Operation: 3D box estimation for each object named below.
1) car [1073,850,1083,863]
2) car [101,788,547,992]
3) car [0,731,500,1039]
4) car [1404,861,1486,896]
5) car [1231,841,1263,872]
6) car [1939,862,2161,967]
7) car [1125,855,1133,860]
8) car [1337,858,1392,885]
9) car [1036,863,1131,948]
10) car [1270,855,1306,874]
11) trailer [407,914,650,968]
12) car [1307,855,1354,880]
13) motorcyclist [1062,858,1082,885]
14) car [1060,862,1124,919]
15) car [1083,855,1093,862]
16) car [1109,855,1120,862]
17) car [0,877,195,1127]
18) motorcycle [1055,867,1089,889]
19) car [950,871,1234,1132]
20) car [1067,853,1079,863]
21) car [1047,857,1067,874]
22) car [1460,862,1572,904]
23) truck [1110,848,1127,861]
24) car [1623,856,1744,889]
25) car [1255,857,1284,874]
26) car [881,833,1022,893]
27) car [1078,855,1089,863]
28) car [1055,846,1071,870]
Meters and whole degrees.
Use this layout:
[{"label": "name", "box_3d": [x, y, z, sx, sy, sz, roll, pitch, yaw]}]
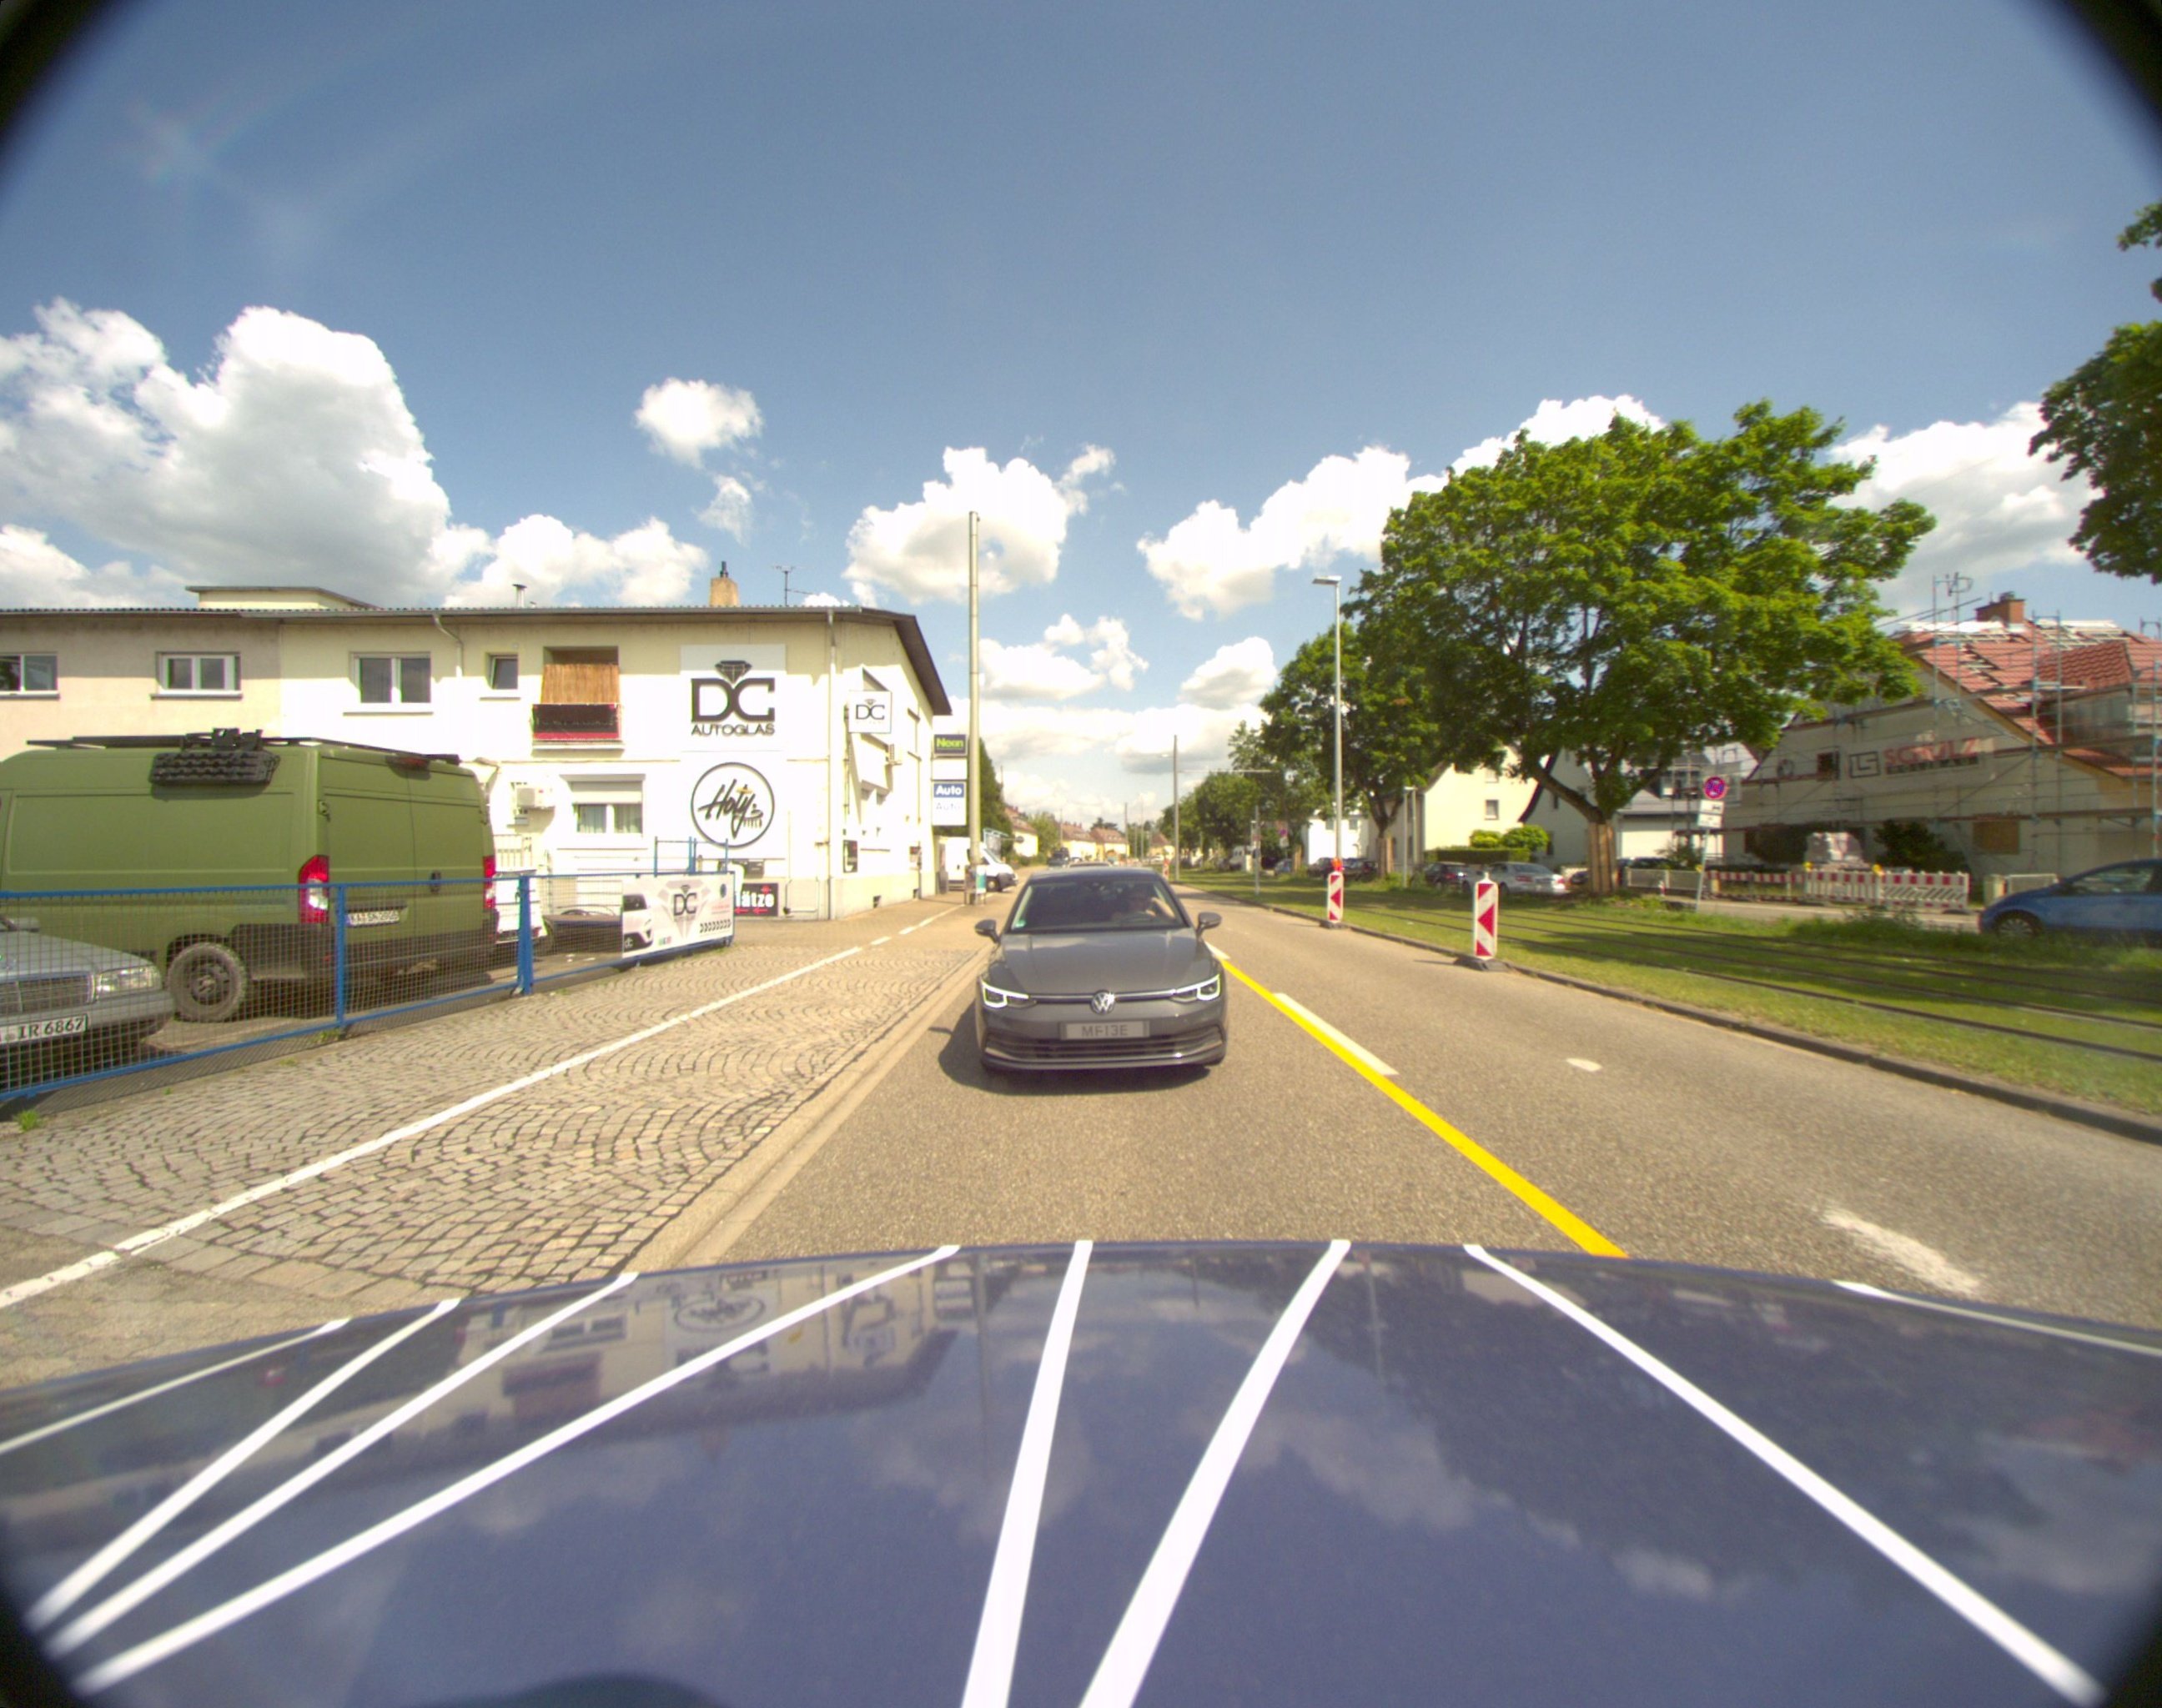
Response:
[{"label": "car", "box_3d": [-0.502, 0.416, 136.210, 1.701, 2.233, 4.947, 0, 0, 2]}, {"label": "car", "box_3d": [-9.506, 0.428, 9.758, 4.207, 2.392, 1.586, 0, 0, 2]}, {"label": "car", "box_3d": [-8.732, 0.271, 7.610, 4.207, 2.627, 2.113, 0, 0, 2]}, {"label": "car", "box_3d": [16.618, 1.121, 34.939, 1.702, 1.477, 4.407, -1, -1, 1]}, {"label": "car", "box_3d": [16.810, 0.272, 77.273, 2.136, 3.019, 5.084, -1, -1, 1]}, {"label": "car", "box_3d": [16.216, 0.868, 11.400, 1.702, 1.477, 4.407, -1, -1, 1]}, {"label": "car", "box_3d": [13.813, 0.938, 218.683, 1.700, 1.574, 4.005, 0, 0, 16]}, {"label": "car", "box_3d": [16.763, 1.035, 45.156, 1.702, 1.477, 4.407, -1, -1, 1]}, {"label": "car", "box_3d": [0.069, 0.941, 15.557, 1.702, 1.477, 4.000, 0, 0, 1]}, {"label": "car", "box_3d": [16.636, 0.874, 61.259, 1.702, 1.477, 4.407, -1, -1, 1]}, {"label": "trailer", "box_3d": [-8.374, 1.307, 11.660, 2.733, 0.662, 1.329, 0, 0, -1]}, {"label": "car", "box_3d": [16.547, 0.899, 50.662, 1.702, 1.562, 4.407, -1, -1, 1]}, {"label": "motorcyclist", "box_3d": [-0.429, 0.857, 37.577, 0.660, 1.284, 0.778, 0, 1, -33]}, {"label": "car", "box_3d": [0.320, 1.011, 22.290, 1.702, 1.477, 4.000, 0, 0, 1]}, {"label": "car", "box_3d": [1.435, 0.901, 155.838, 1.701, 1.574, 4.002, 0, 0, 7]}, {"label": "car", "box_3d": [7.156, 0.951, 160.315, 2.117, 1.477, 4.407, 0, 0, 6]}, {"label": "car", "box_3d": [-8.465, 0.889, 4.775, 4.282, 1.444, 1.713, 0, 0, 8]}, {"label": "motorcycle", "box_3d": [-0.459, 1.179, 37.623, 0.660, 1.040, 2.106, 0, 0, -33]}, {"label": "car", "box_3d": [0.096, 0.936, 6.564, 1.702, 1.477, 4.000, 0, 0, 1]}, {"label": "car", "box_3d": [-1.332, 0.668, 122.838, 1.701, 1.574, 4.001, 0, 0, 3]}, {"label": "car", "box_3d": [-2.193, 1.045, 70.755, 1.702, 1.574, 4.000, 0, 0, 1]}, {"label": "car", "box_3d": [16.414, 1.067, 28.962, 1.788, 1.477, 4.523, -1, -1, 2]}, {"label": "truck", "box_3d": [9.904, 0.137, 201.052, 2.710, 3.119, 8.124, 0, 0, 15]}, {"label": "car", "box_3d": [28.899, 0.891, 36.512, 4.402, 1.477, 1.704, -1, -1, 1]}, {"label": "car", "box_3d": [17.639, 1.077, 71.328, 1.702, 1.477, 4.407, -1, -1, 1]}, {"label": "car", "box_3d": [-5.713, 0.395, 34.011, 5.836, 2.449, 2.092, 2, 0, 1]}, {"label": "car", "box_3d": [0.477, 0.898, 146.708, 1.701, 1.574, 4.002, 0, 0, 6]}, {"label": "car", "box_3d": [-1.920, 0.447, 82.440, 1.702, 2.510, 5.144, 0, 0, 0]}]
